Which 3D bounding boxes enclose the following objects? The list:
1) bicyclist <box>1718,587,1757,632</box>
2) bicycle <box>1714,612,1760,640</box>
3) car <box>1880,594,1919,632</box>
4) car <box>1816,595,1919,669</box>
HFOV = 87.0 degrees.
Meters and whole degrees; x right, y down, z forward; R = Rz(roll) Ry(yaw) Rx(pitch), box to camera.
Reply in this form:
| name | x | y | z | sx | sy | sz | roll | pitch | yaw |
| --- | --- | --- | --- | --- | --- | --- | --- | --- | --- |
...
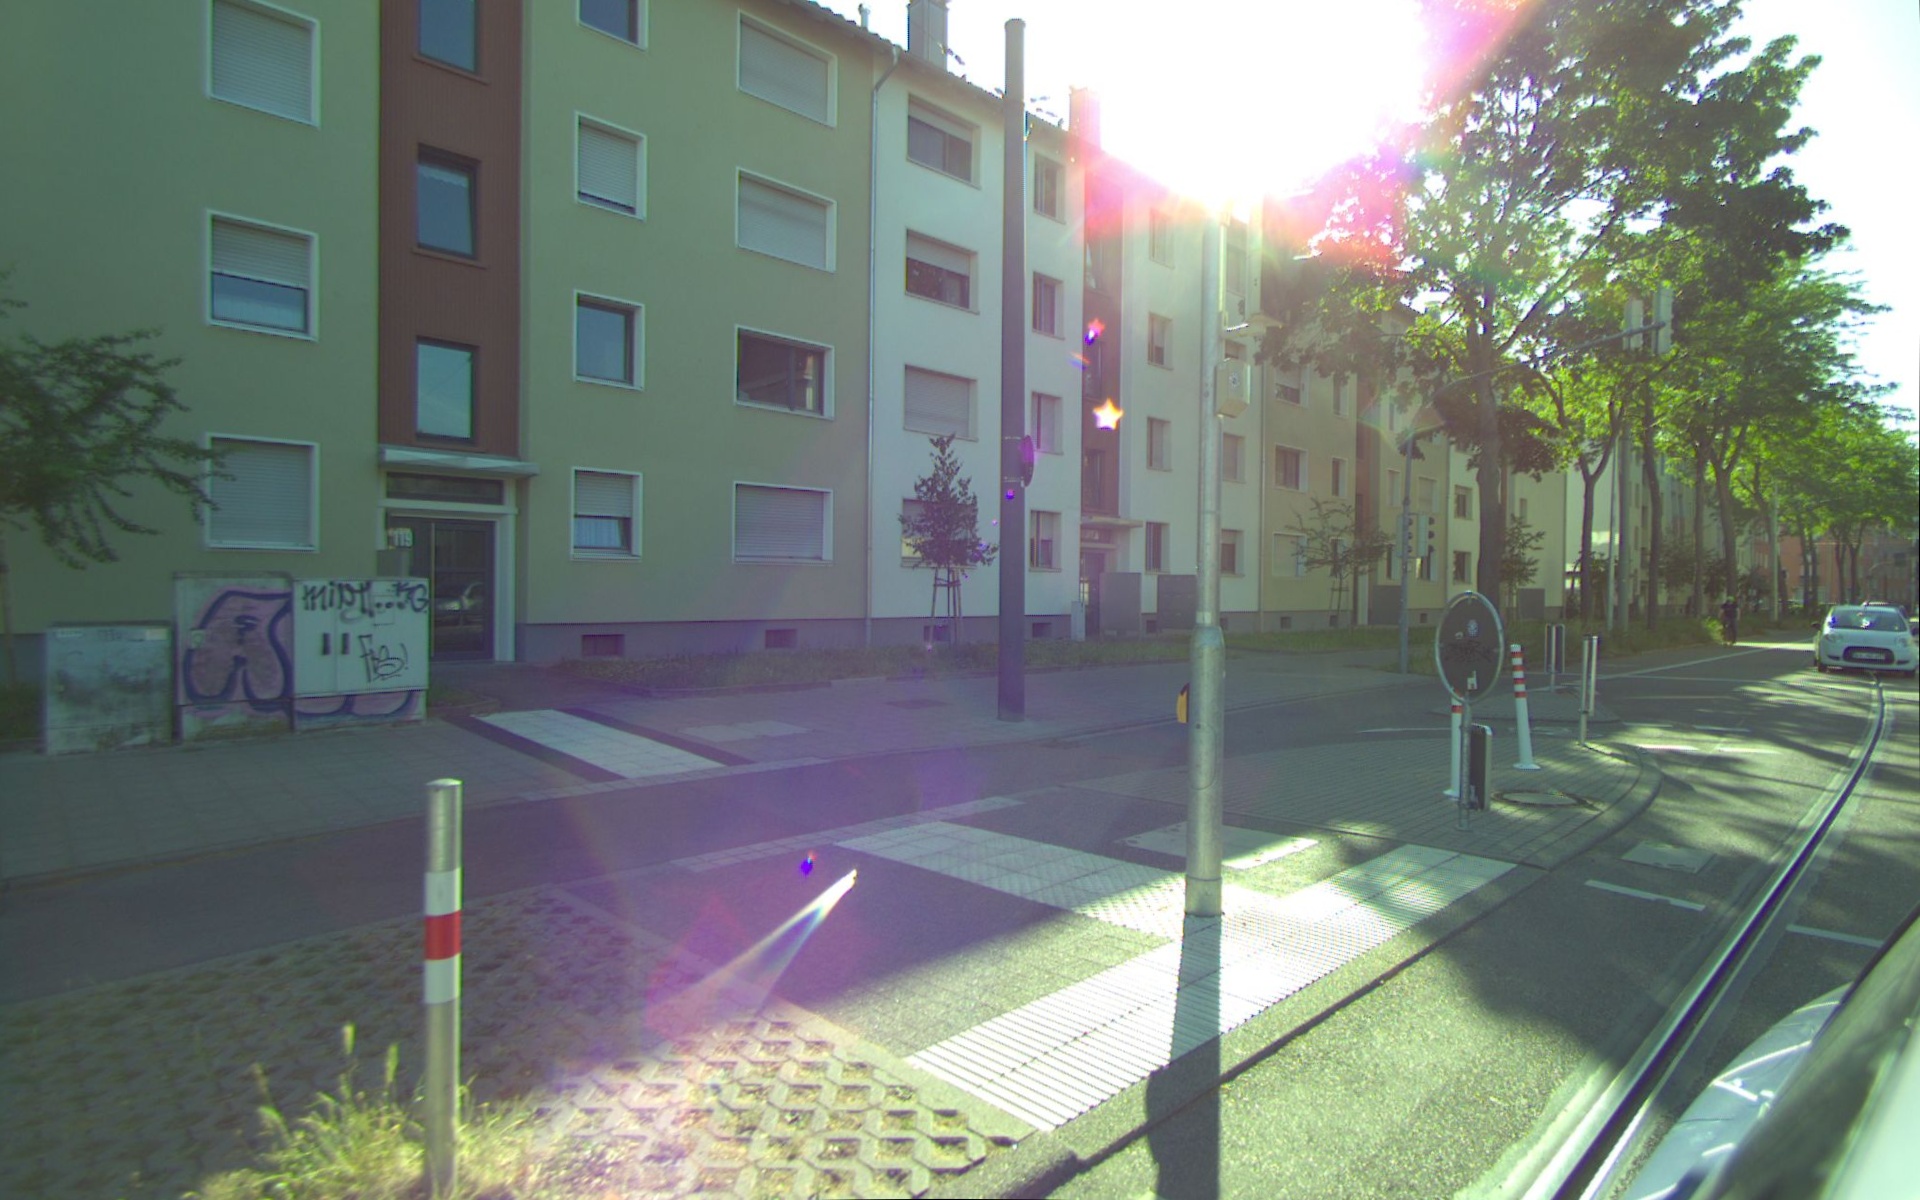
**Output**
| name | x | y | z | sx | sy | sz | roll | pitch | yaw |
| --- | --- | --- | --- | --- | --- | --- | --- | --- | --- |
| bicyclist | 27.057 | 0.321 | 35.221 | 1.236 | 1.518 | 0.818 | 0 | 1 | -40 |
| bicycle | 27.041 | 0.881 | 35.221 | 2.159 | 0.897 | 0.826 | 0 | 1 | -40 |
| car | 42.001 | 0.568 | 44.640 | 1.734 | 1.596 | 3.643 | 1 | 1 | 37 |
| car | 20.161 | 0.636 | 22.323 | 1.734 | 1.477 | 3.643 | 1 | 1 | 37 |
